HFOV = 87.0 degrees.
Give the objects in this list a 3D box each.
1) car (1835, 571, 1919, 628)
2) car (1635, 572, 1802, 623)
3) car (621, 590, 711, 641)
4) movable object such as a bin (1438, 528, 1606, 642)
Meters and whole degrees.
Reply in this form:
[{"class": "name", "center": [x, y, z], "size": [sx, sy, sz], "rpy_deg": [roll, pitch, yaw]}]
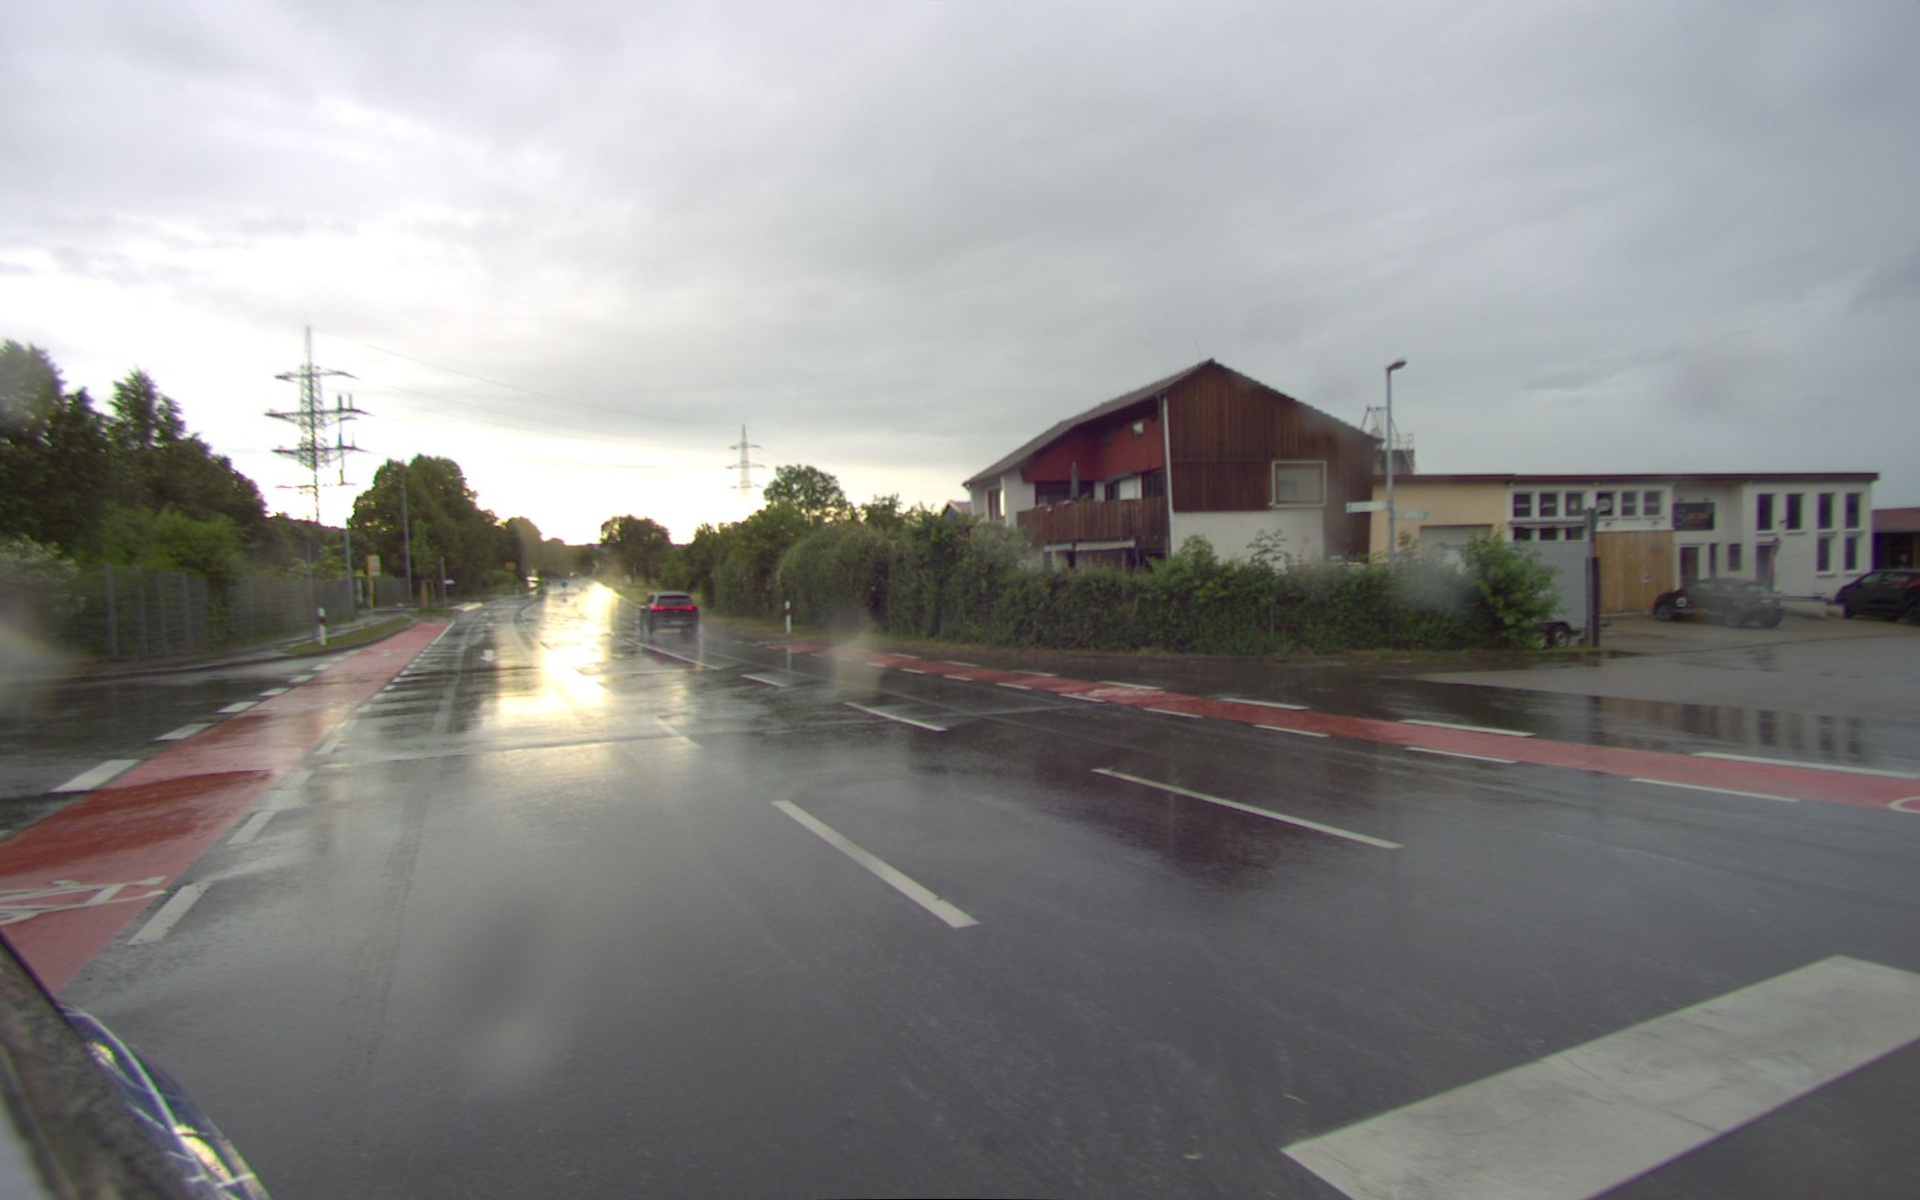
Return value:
[{"class": "car", "center": [33.294, -0.027, 35.135], "size": [1.972, 1.919, 4.410], "rpy_deg": [0, 0, 0]}, {"class": "car", "center": [24.678, -0.070, 33.104], "size": [1.966, 1.567, 4.011], "rpy_deg": [0, 0, -15]}, {"class": "car", "center": [-11.825, 0.558, 40.315], "size": [2.321, 1.829, 6.900], "rpy_deg": [0, 0, -26]}, {"class": "movable object such as a bin", "center": [13.344, -0.327, 24.087], "size": [3.282, 2.576, 1.744], "rpy_deg": [0, 0, -19]}]
